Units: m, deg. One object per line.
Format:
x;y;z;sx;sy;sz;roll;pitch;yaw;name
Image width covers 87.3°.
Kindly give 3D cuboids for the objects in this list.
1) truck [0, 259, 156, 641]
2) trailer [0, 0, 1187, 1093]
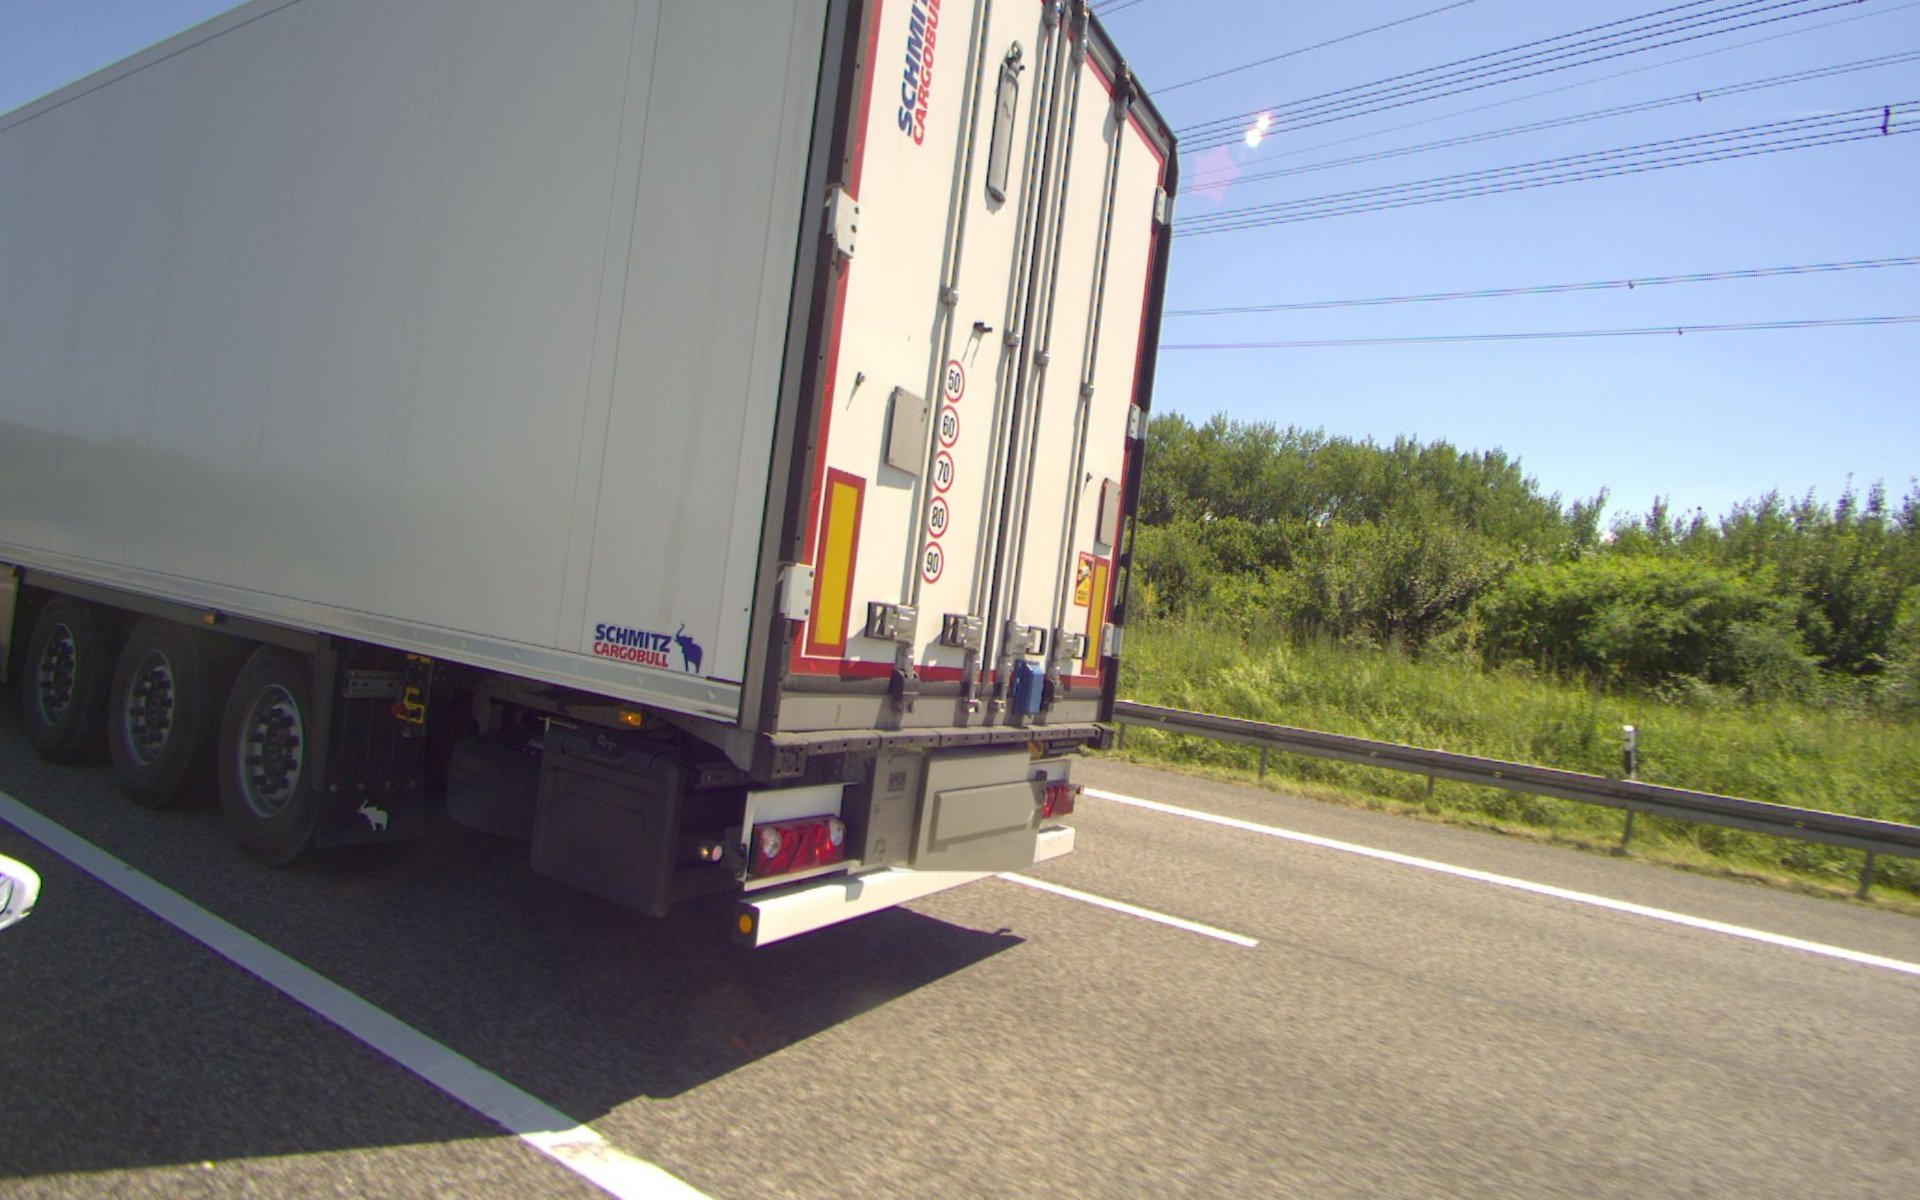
-13.118;-1.932;12.294;6.000;4.032;2.946;6;-1;32;truck
-6.523;-1.237;8.243;15.932;4.065;2.943;6;-1;32;trailer
